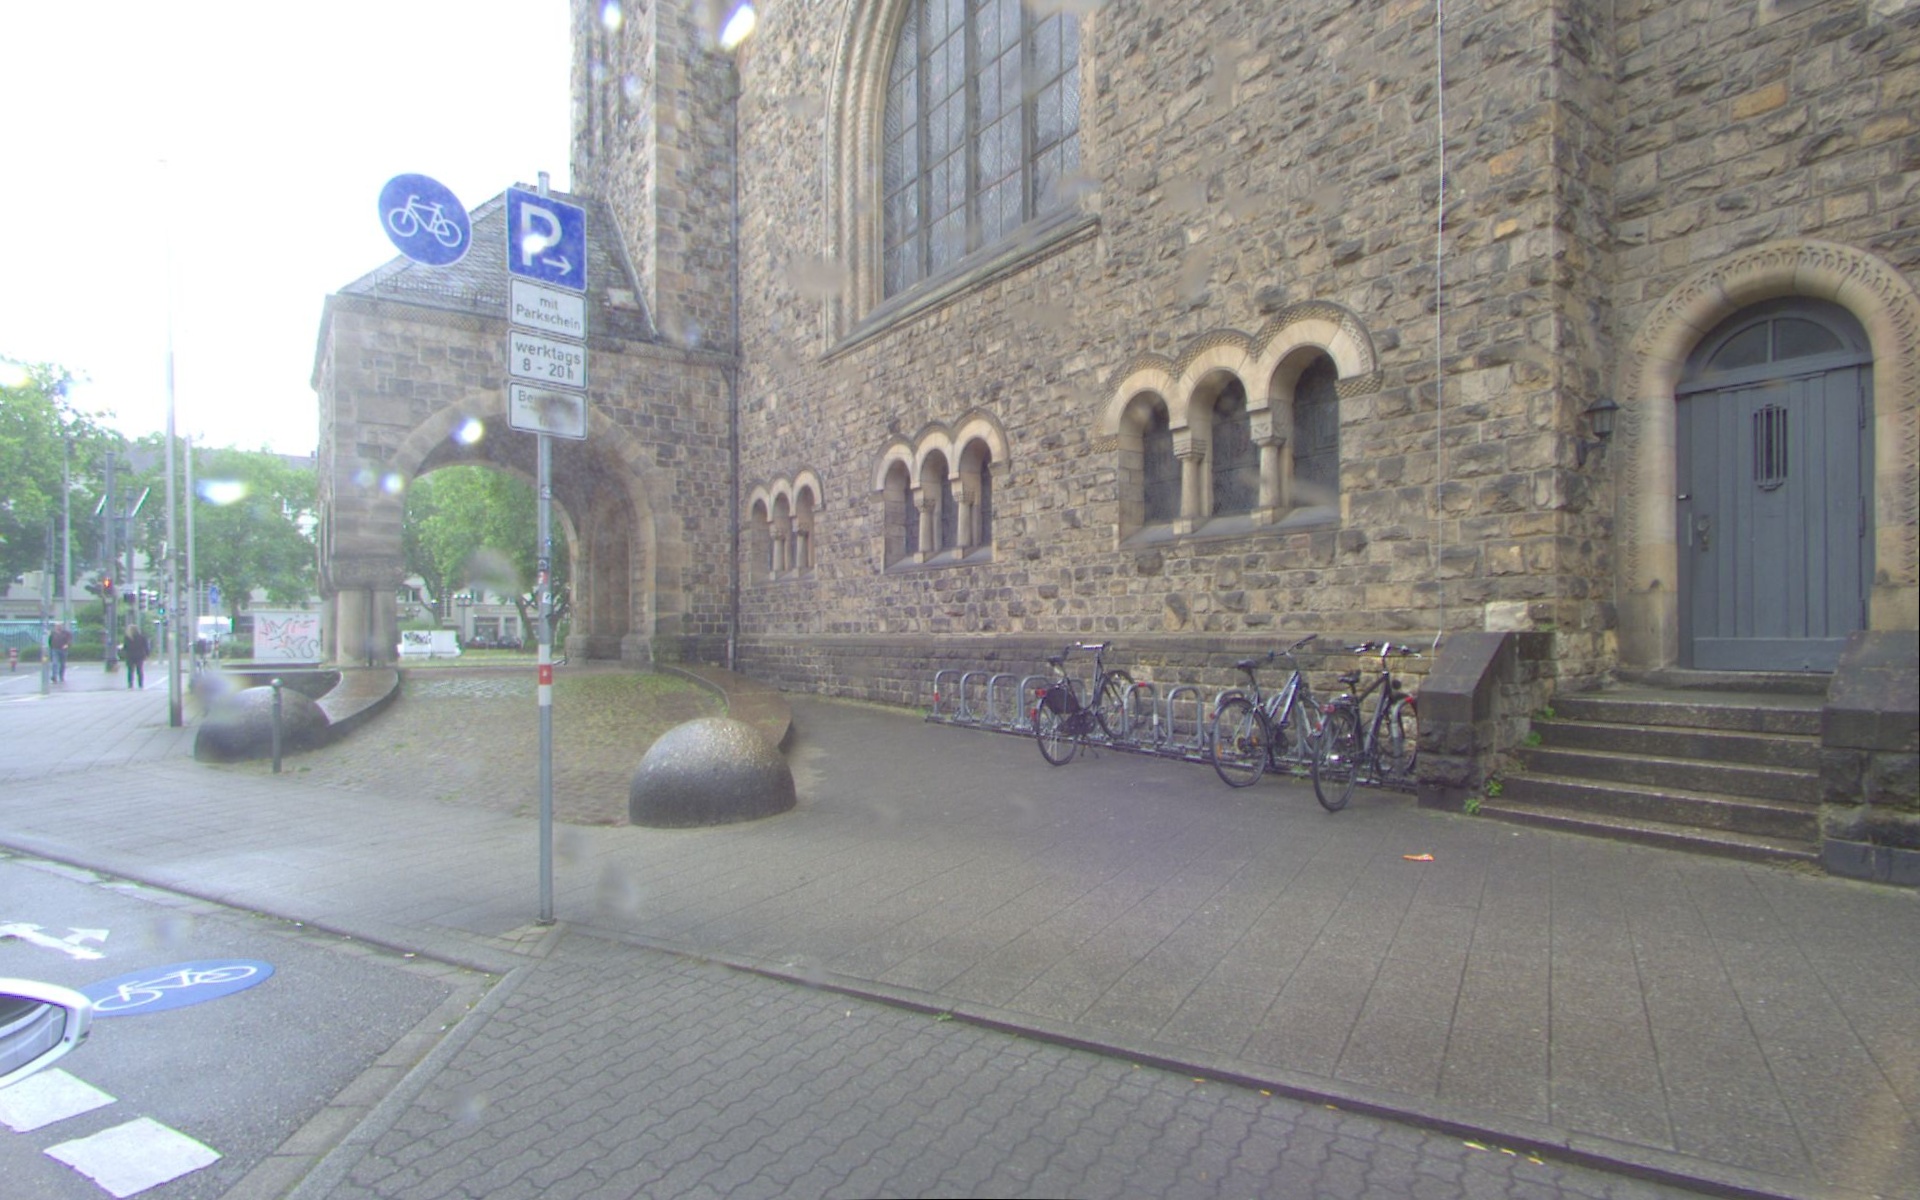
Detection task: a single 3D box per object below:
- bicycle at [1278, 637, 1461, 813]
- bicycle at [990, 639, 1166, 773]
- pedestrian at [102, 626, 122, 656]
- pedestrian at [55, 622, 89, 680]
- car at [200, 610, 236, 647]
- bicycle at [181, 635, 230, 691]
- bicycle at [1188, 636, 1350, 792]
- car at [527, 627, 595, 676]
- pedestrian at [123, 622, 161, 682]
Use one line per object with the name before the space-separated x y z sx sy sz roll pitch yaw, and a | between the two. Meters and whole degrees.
bicycle | 3.078 0.847 7.408 1.971 1.068 0.507 -2 0 -45
bicycle | 1.217 0.988 9.964 0.684 1.119 1.973 -1 0 43
pedestrian | -45.493 2.186 53.723 0.666 1.573 0.758 0 -2 -30
pedestrian | -28.029 1.587 31.600 0.780 1.782 0.936 0 0 -43
car | -53.759 2.058 72.593 1.888 2.588 4.757 0 -1 -34
bicycle | -16.665 1.372 22.103 2.049 1.169 0.327 -1 -1 38
bicycle | 2.650 0.901 8.485 1.697 1.126 0.556 -2 0 -45
car | -12.714 1.595 31.824 1.389 1.498 3.200 1 -2 -34
pedestrian | -23.351 1.480 28.608 0.775 1.667 0.651 0 0 -34
